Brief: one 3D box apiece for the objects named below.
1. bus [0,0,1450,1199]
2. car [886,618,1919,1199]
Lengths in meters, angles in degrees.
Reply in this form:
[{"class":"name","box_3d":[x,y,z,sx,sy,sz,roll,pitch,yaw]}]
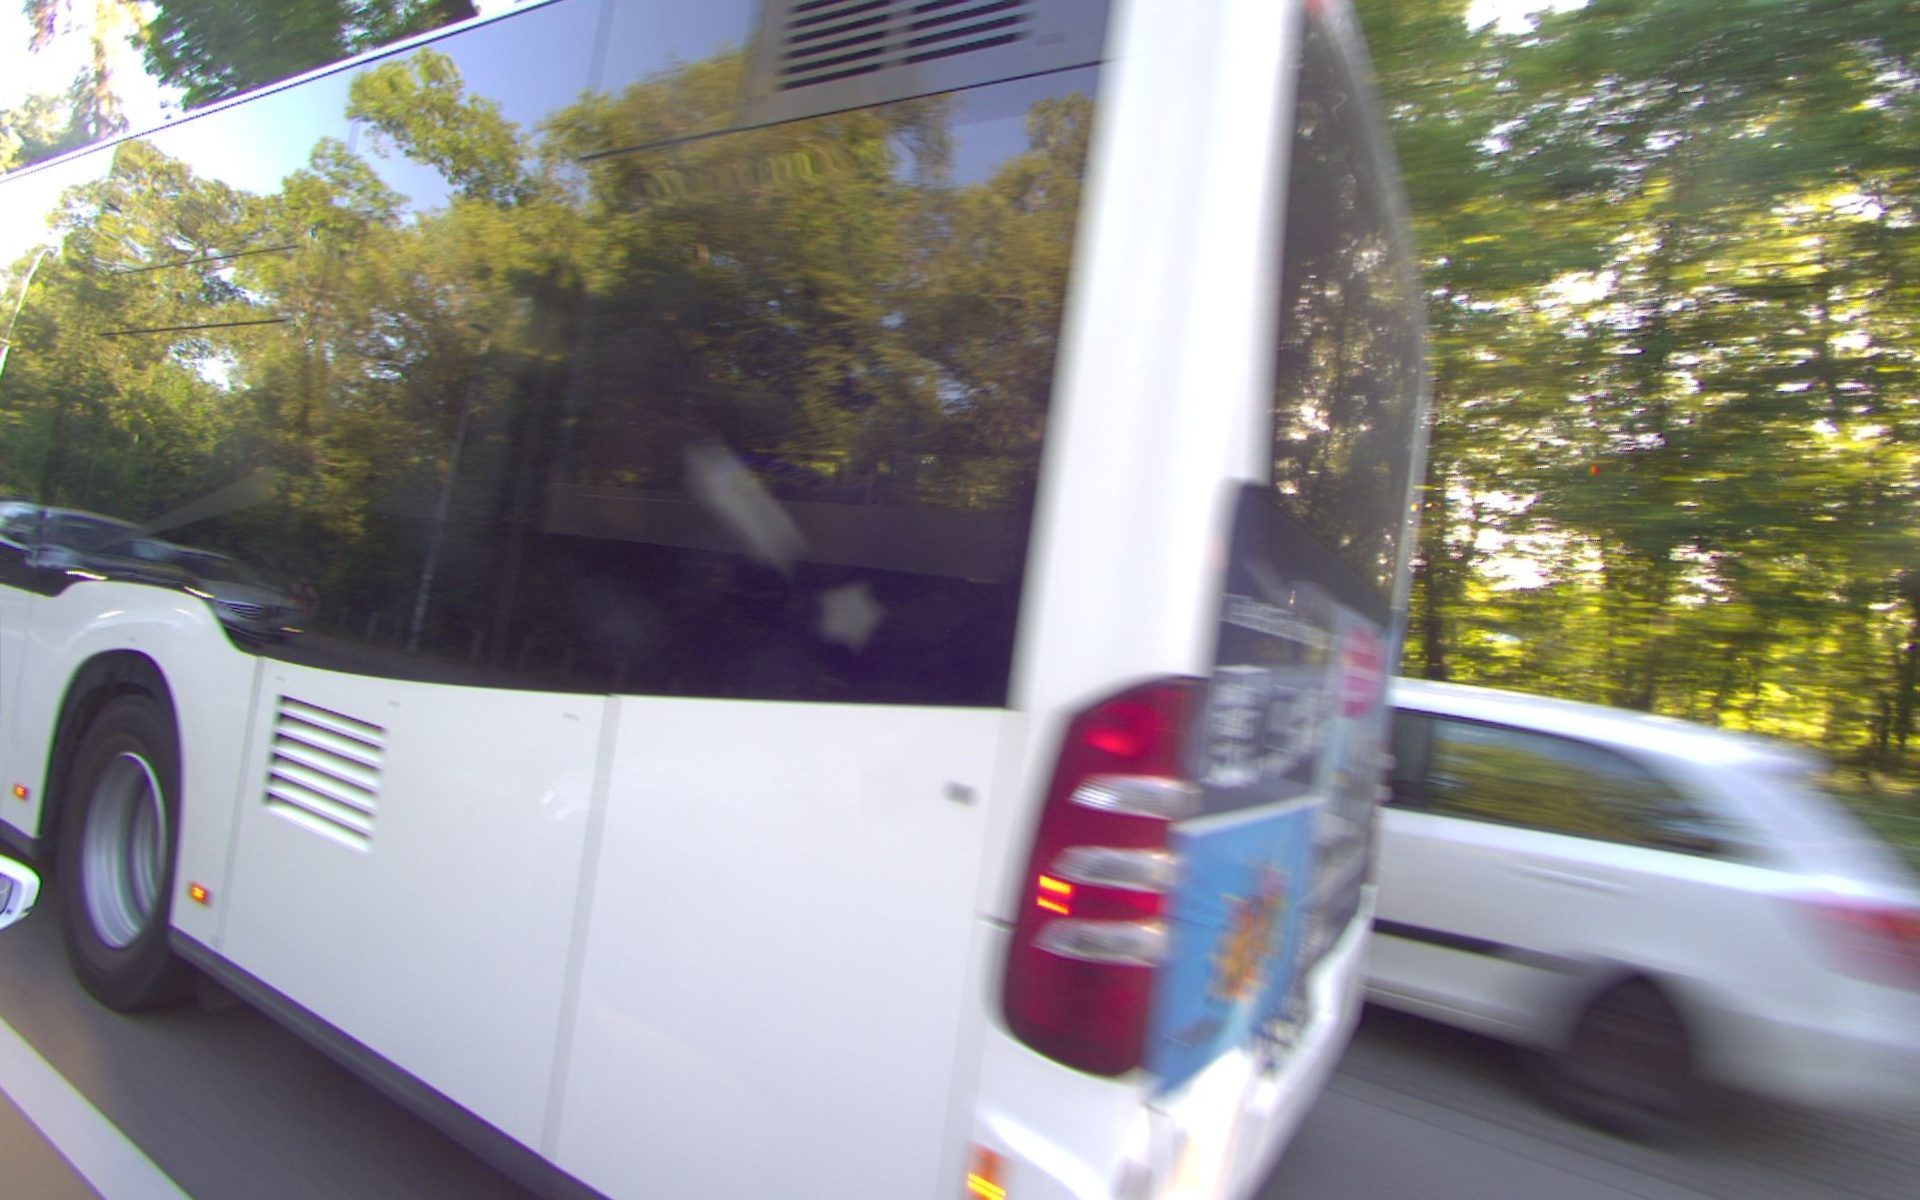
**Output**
[{"class":"bus","box_3d":[-4.240,-0.571,5.601,12.075,3.260,2.709,7,-1,32]},{"class":"car","box_3d":[1.864,1.089,4.865,4.101,1.531,1.728,7,2,32]}]
